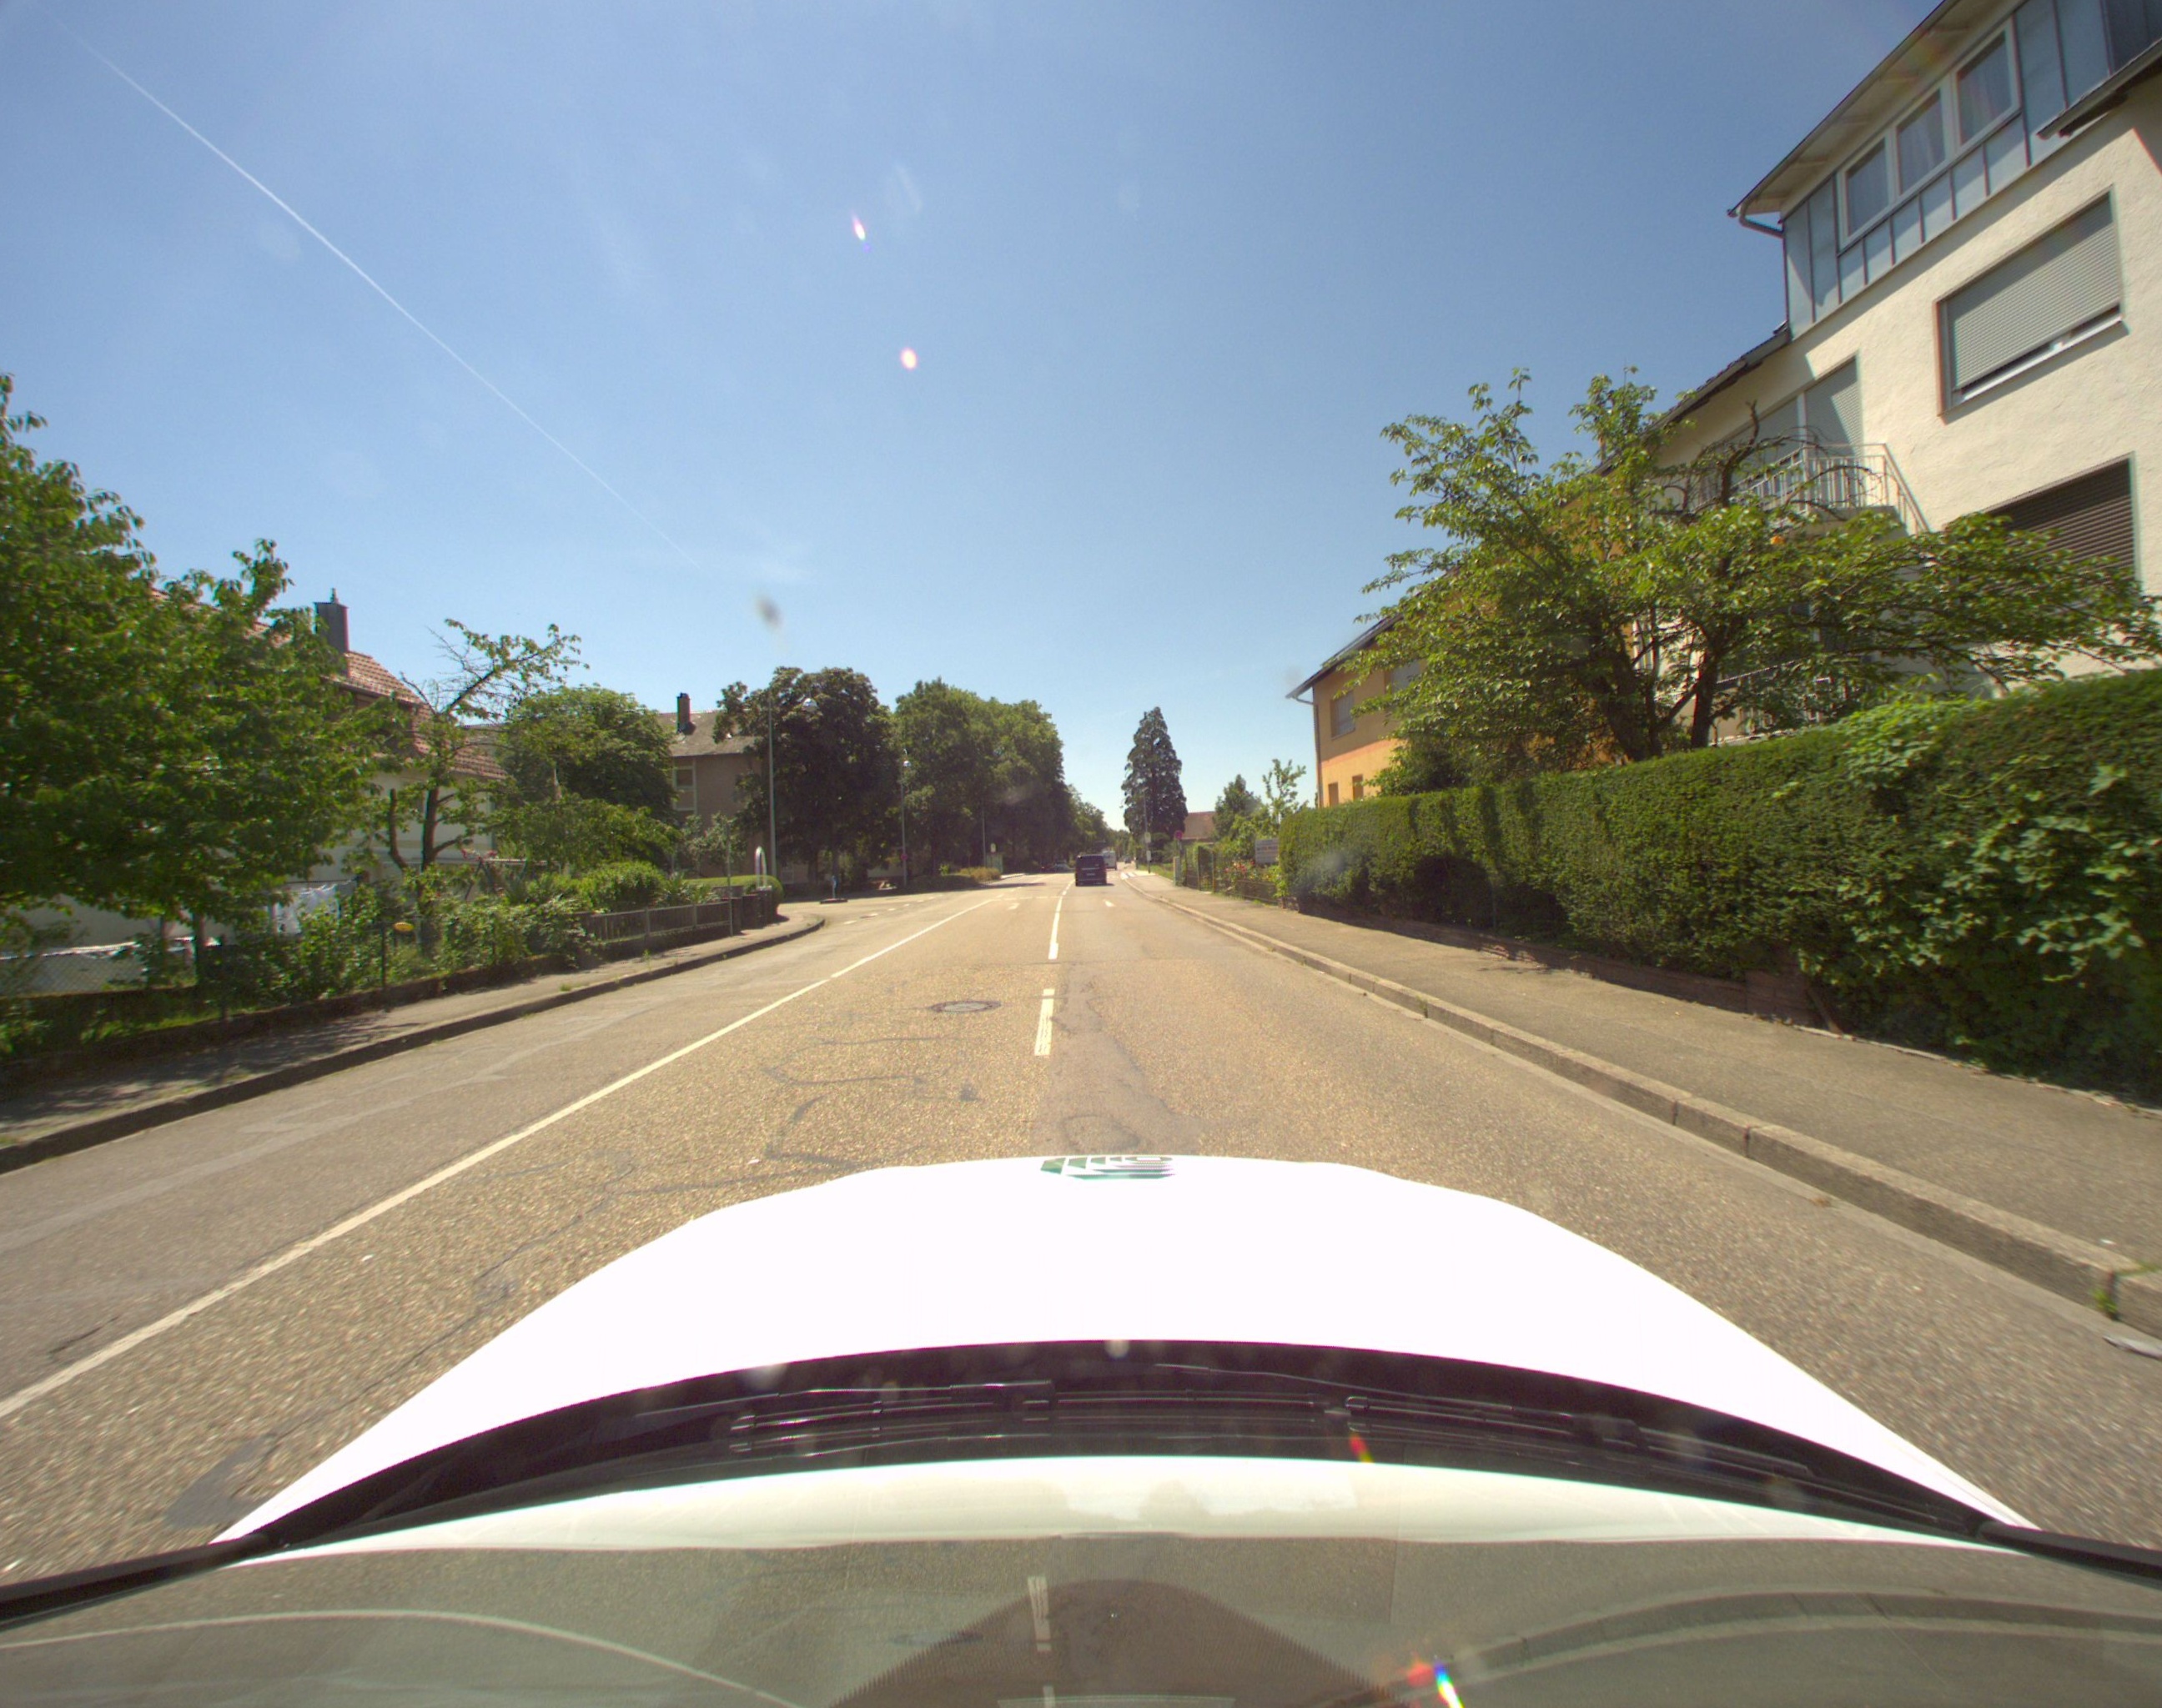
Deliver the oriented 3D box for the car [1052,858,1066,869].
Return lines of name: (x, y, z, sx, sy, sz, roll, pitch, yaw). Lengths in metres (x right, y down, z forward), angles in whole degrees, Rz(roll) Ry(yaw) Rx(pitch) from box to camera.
car: (-3.099, 1.284, 114.115, 1.685, 1.460, 3.640, -2, 0, 1)

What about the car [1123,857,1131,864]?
car: (12.769, 1.821, 227.205, 1.851, 1.643, 4.000, -2, 0, 0)

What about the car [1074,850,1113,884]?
car: (0.798, 0.727, 48.767, 1.984, 1.893, 4.005, -1, 0, 4)

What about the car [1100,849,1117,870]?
car: (3.791, 0.709, 111.908, 2.112, 2.677, 5.665, -1, 0, 2)

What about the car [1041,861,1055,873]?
car: (-4.250, 1.713, 106.327, 1.544, 1.450, 3.692, -2, -1, 2)
